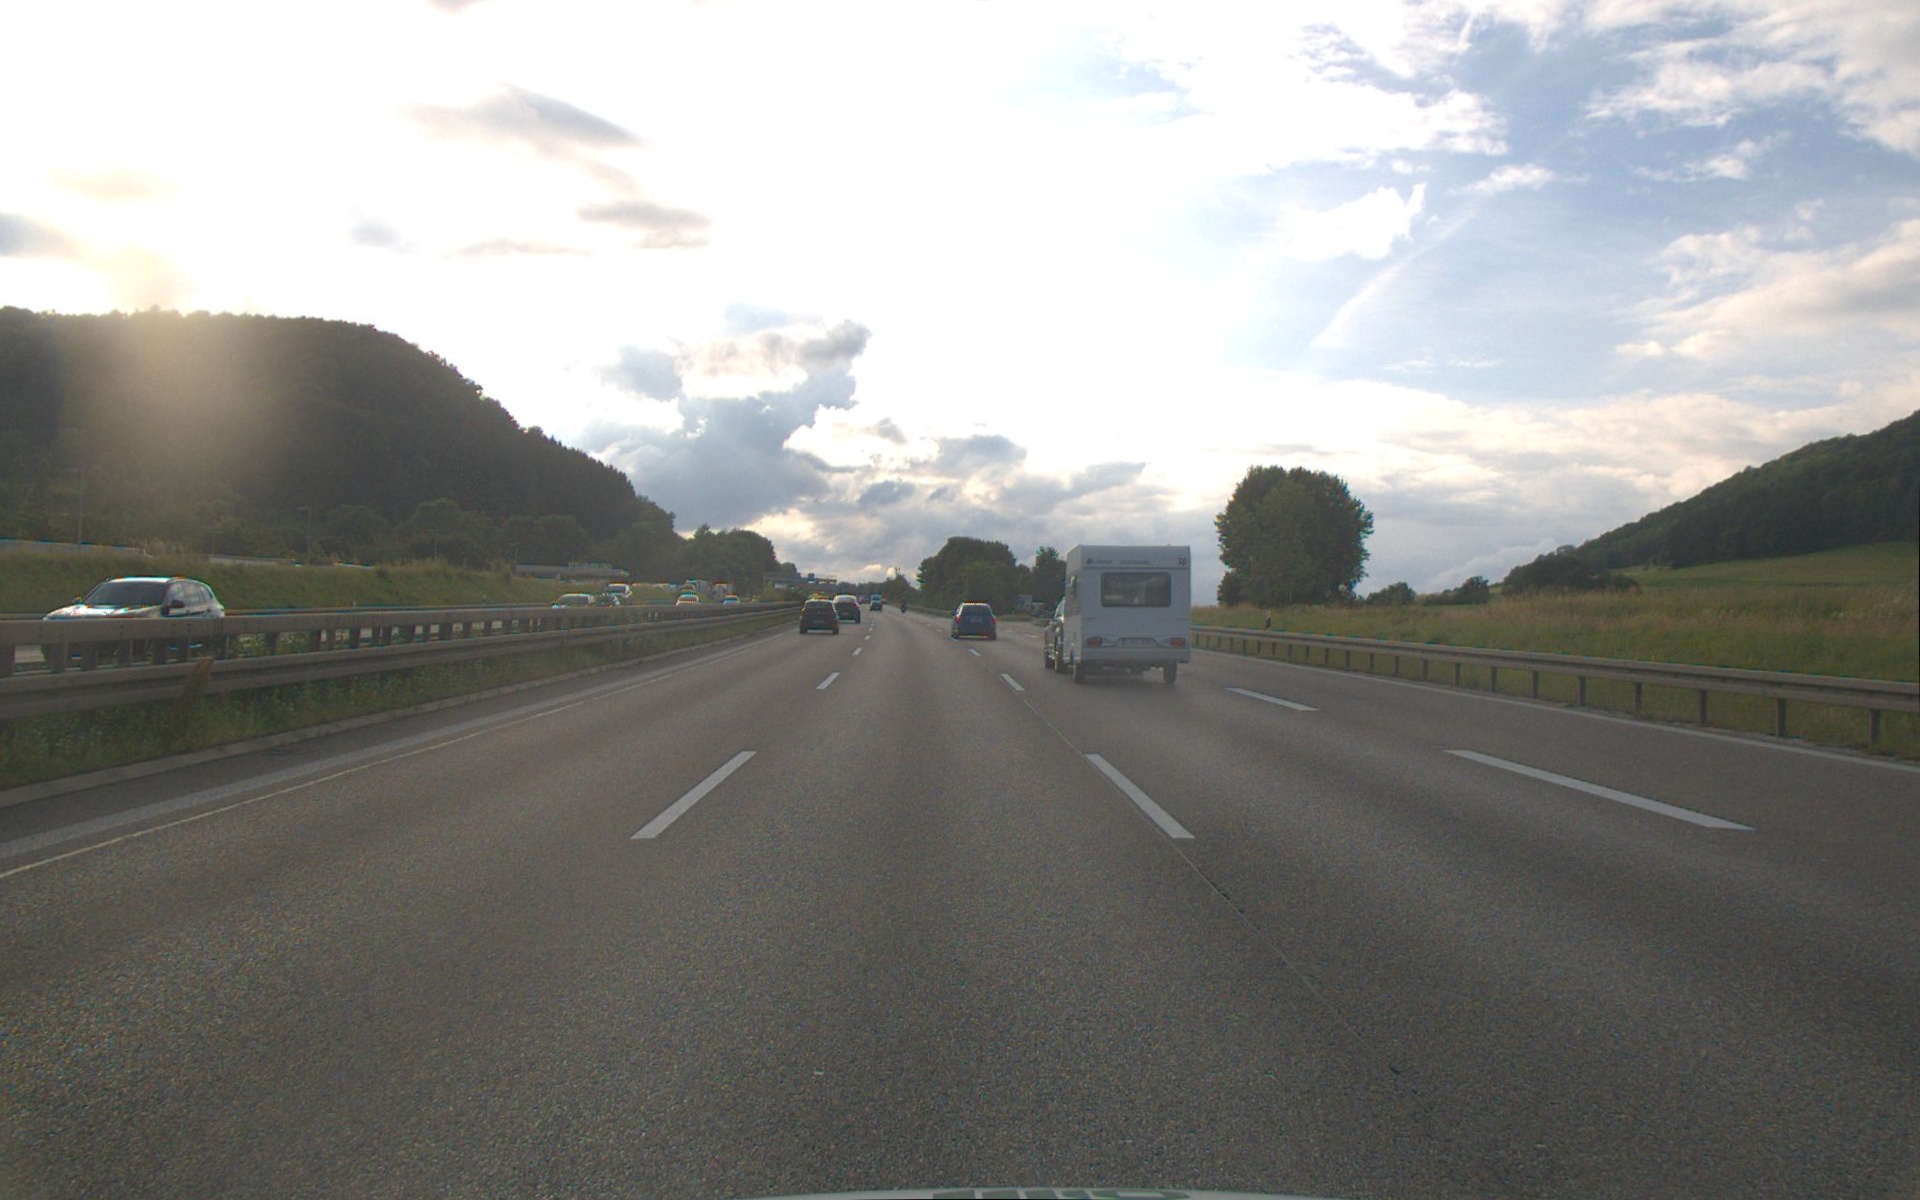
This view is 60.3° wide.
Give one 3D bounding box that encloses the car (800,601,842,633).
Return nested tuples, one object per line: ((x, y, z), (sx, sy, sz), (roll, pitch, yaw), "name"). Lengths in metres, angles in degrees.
((-6.055, 0.719, 72.267), (1.506, 1.371, 3.676), (0, 0, 0), "car")

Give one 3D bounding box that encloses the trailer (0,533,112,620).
((-42.916, -1.014, 76.208), (2.819, 3.761, 10.367), (0, 0, -3), "trailer")

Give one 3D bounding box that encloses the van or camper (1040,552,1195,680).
((3.001, 0.346, 32.781), (2.496, 2.279, 5.328), (1, -1, 0), "van or camper")

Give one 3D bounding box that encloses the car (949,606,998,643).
((0.517, 0.978, 66.968), (1.731, 1.458, 3.998), (-1, -1, -3), "car")

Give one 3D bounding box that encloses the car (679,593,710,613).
((-19.898, 0.230, 123.914), (1.912, 1.501, 3.870), (0, 0, -3), "car")

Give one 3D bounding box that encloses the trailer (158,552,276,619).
((-44.001, -0.832, 98.385), (2.819, 3.761, 10.367), (0, 0, -3), "trailer")

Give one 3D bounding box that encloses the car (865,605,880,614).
((-12.139, 1.367, 229.012), (1.718, 1.243, 3.993), (0, 0, -8), "car")

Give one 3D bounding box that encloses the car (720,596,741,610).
((-24.137, 0.294, 174.220), (1.912, 1.473, 3.870), (0, 0, -3), "car")

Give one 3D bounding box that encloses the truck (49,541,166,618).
((-43.349, -1.021, 84.339), (2.824, 3.755, 6.587), (0, 0, -3), "truck")

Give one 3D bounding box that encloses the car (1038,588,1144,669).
((2.878, 0.597, 37.129), (1.751, 1.681, 4.478), (1, 0, -3), "car")

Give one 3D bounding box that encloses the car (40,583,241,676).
((-15.828, 0.586, 32.200), (1.770, 1.642, 4.339), (1, -1, -1), "car")

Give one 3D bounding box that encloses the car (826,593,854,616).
((-7.624, 0.295, 105.522), (1.533, 1.404, 3.999), (0, 0, -1), "car")
